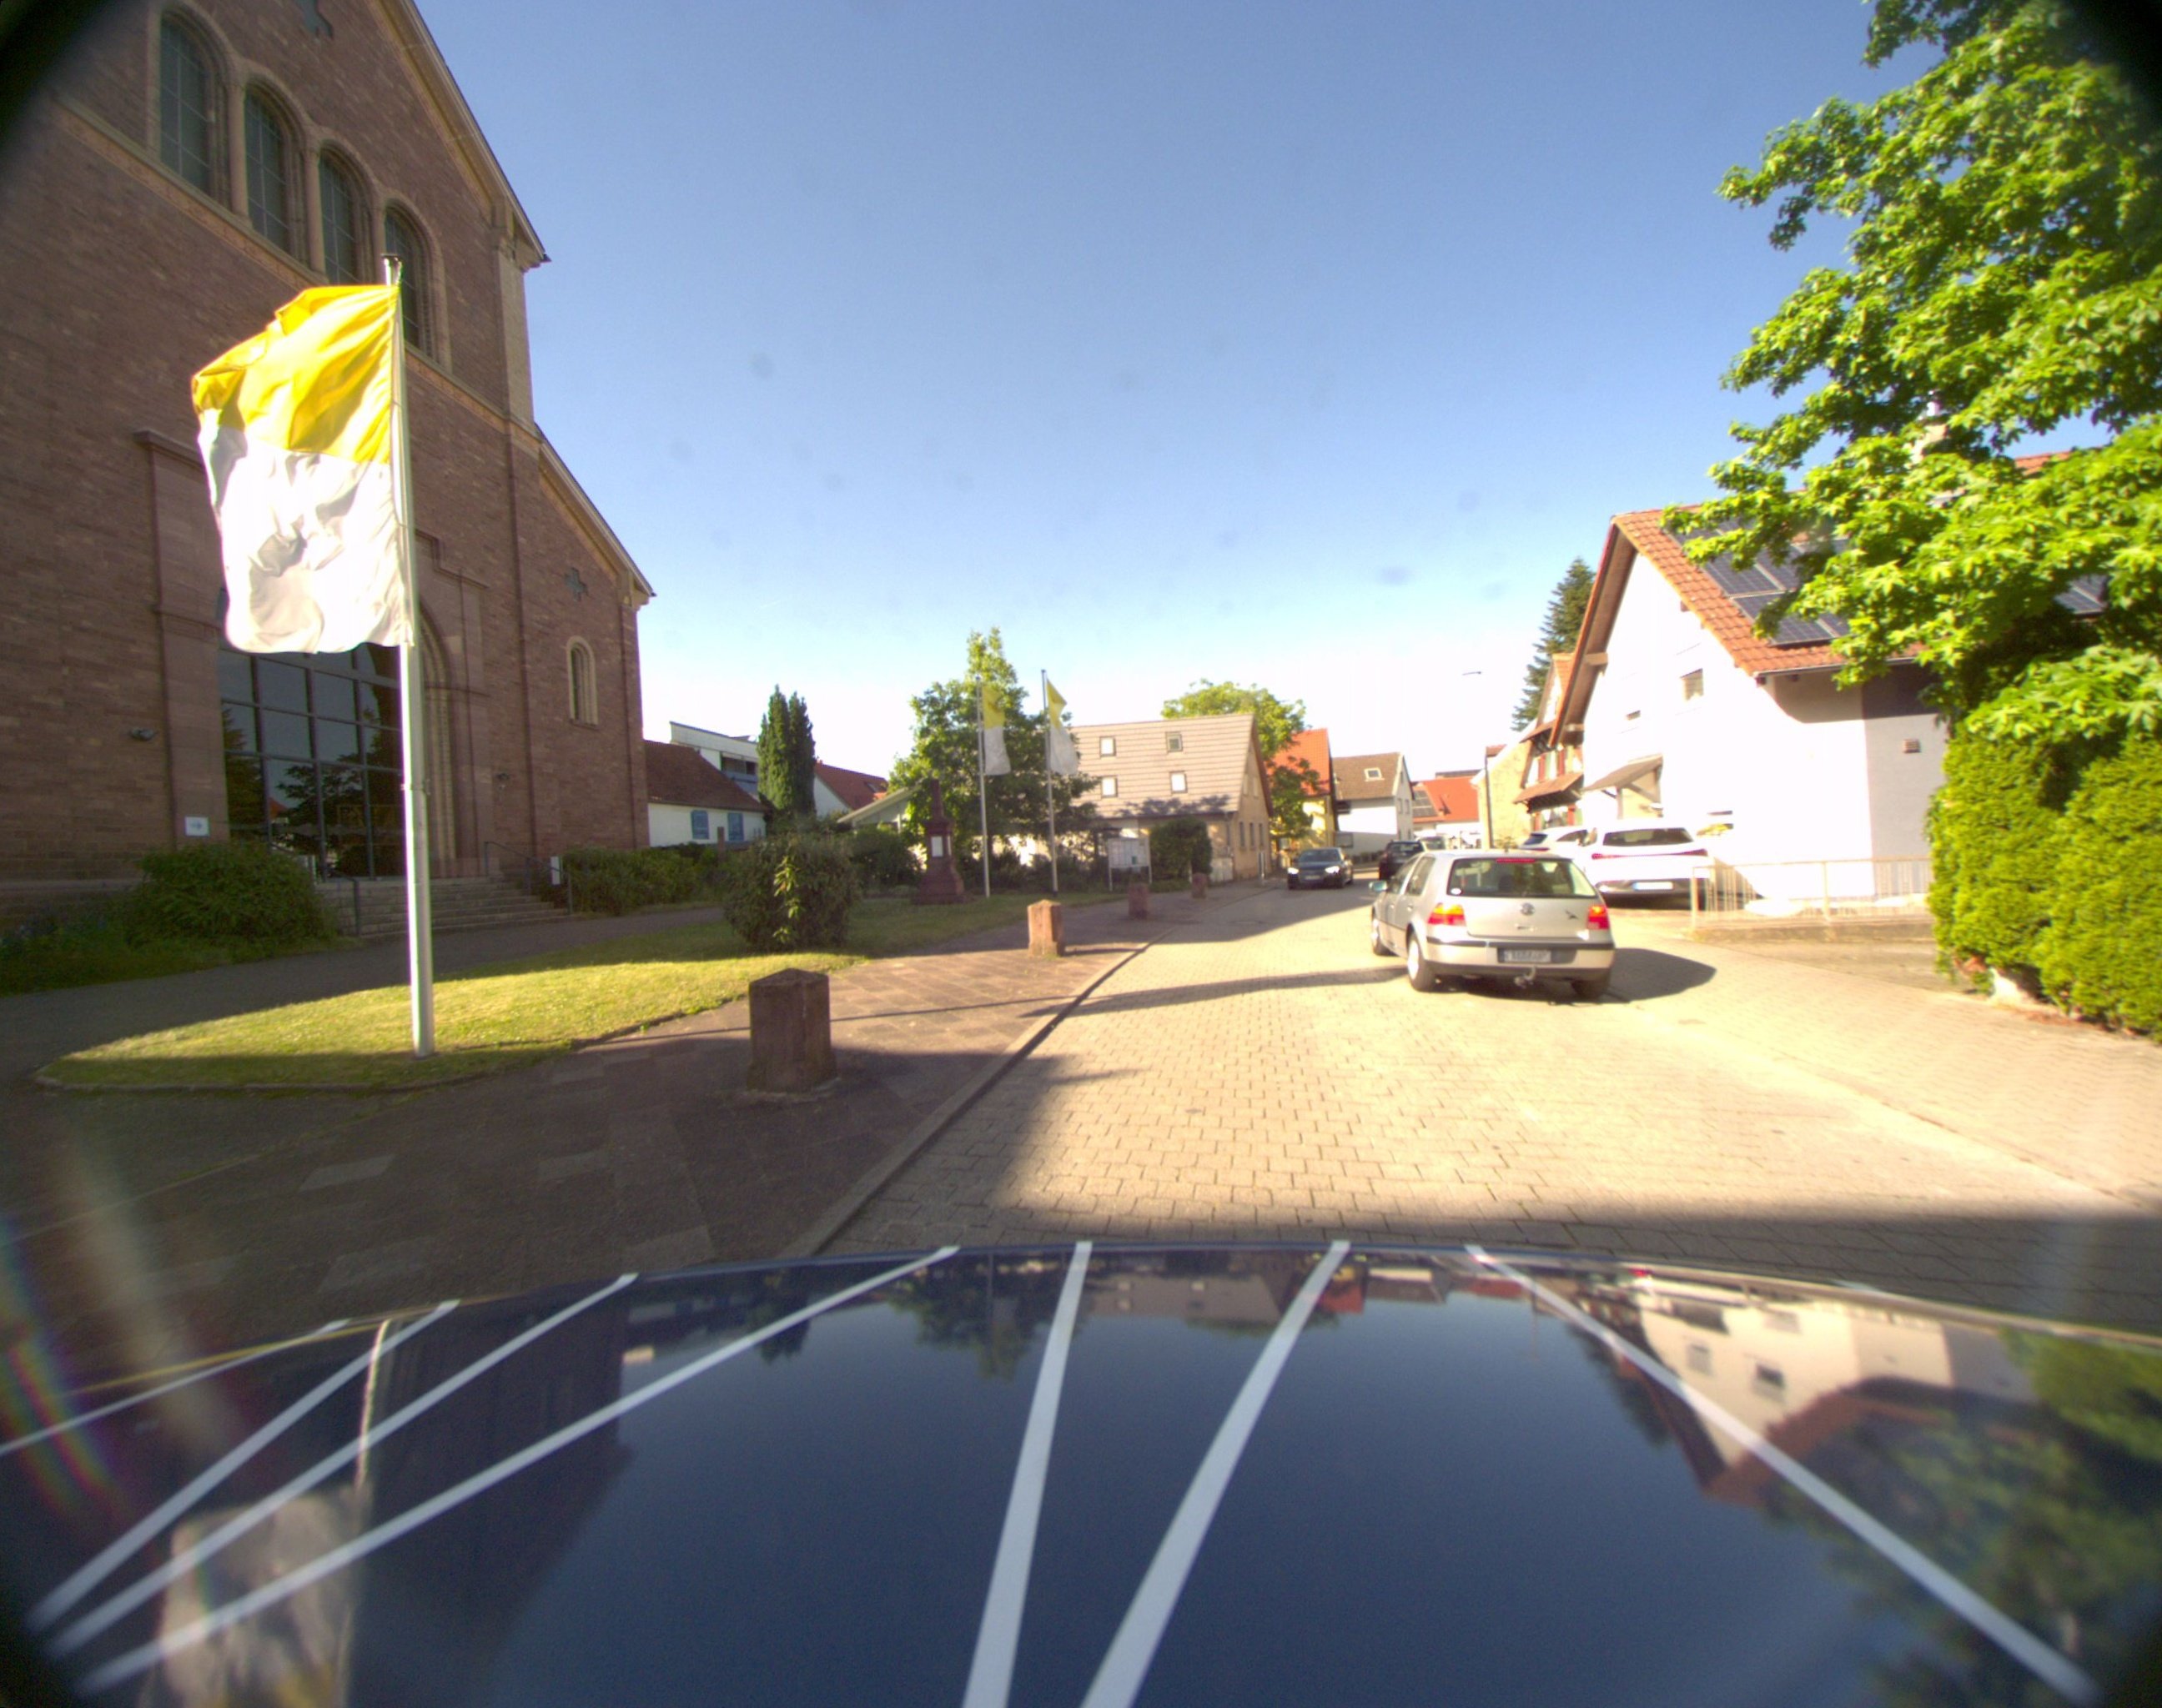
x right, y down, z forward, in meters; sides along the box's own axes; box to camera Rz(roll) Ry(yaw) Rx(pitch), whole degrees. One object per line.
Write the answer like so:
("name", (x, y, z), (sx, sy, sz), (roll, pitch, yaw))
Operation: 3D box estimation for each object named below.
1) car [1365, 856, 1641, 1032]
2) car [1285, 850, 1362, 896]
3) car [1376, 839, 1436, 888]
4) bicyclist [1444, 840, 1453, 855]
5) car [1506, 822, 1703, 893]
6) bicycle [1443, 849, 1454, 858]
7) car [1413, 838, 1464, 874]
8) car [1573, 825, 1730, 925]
("car", (4.296, 0.764, 8.420), (1.673, 1.394, 3.895), (-1, 1, 13))
("car", (8.600, 0.618, 26.735), (1.804, 1.469, 4.352), (-1, 0, 28))
("car", (12.629, 0.312, 29.370), (1.834, 1.661, 4.359), (-2, 1, 26))
("bicyclist", (31.689, -0.554, 65.534), (0.581, 1.313, 0.609), (-1, 1, 35))
("car", (14.469, 0.121, 21.250), (3.994, 1.579, 2.002), (-5, -1, 12))
("bicycle", (31.726, -0.064, 65.532), (0.581, 0.757, 1.803), (-1, 1, 35))
("car", (18.437, 0.063, 39.044), (1.833, 1.779, 4.361), (0, 1, 32))
("car", (10.806, 0.314, 14.715), (1.818, 1.586, 4.453), (-4, 0, 30))
